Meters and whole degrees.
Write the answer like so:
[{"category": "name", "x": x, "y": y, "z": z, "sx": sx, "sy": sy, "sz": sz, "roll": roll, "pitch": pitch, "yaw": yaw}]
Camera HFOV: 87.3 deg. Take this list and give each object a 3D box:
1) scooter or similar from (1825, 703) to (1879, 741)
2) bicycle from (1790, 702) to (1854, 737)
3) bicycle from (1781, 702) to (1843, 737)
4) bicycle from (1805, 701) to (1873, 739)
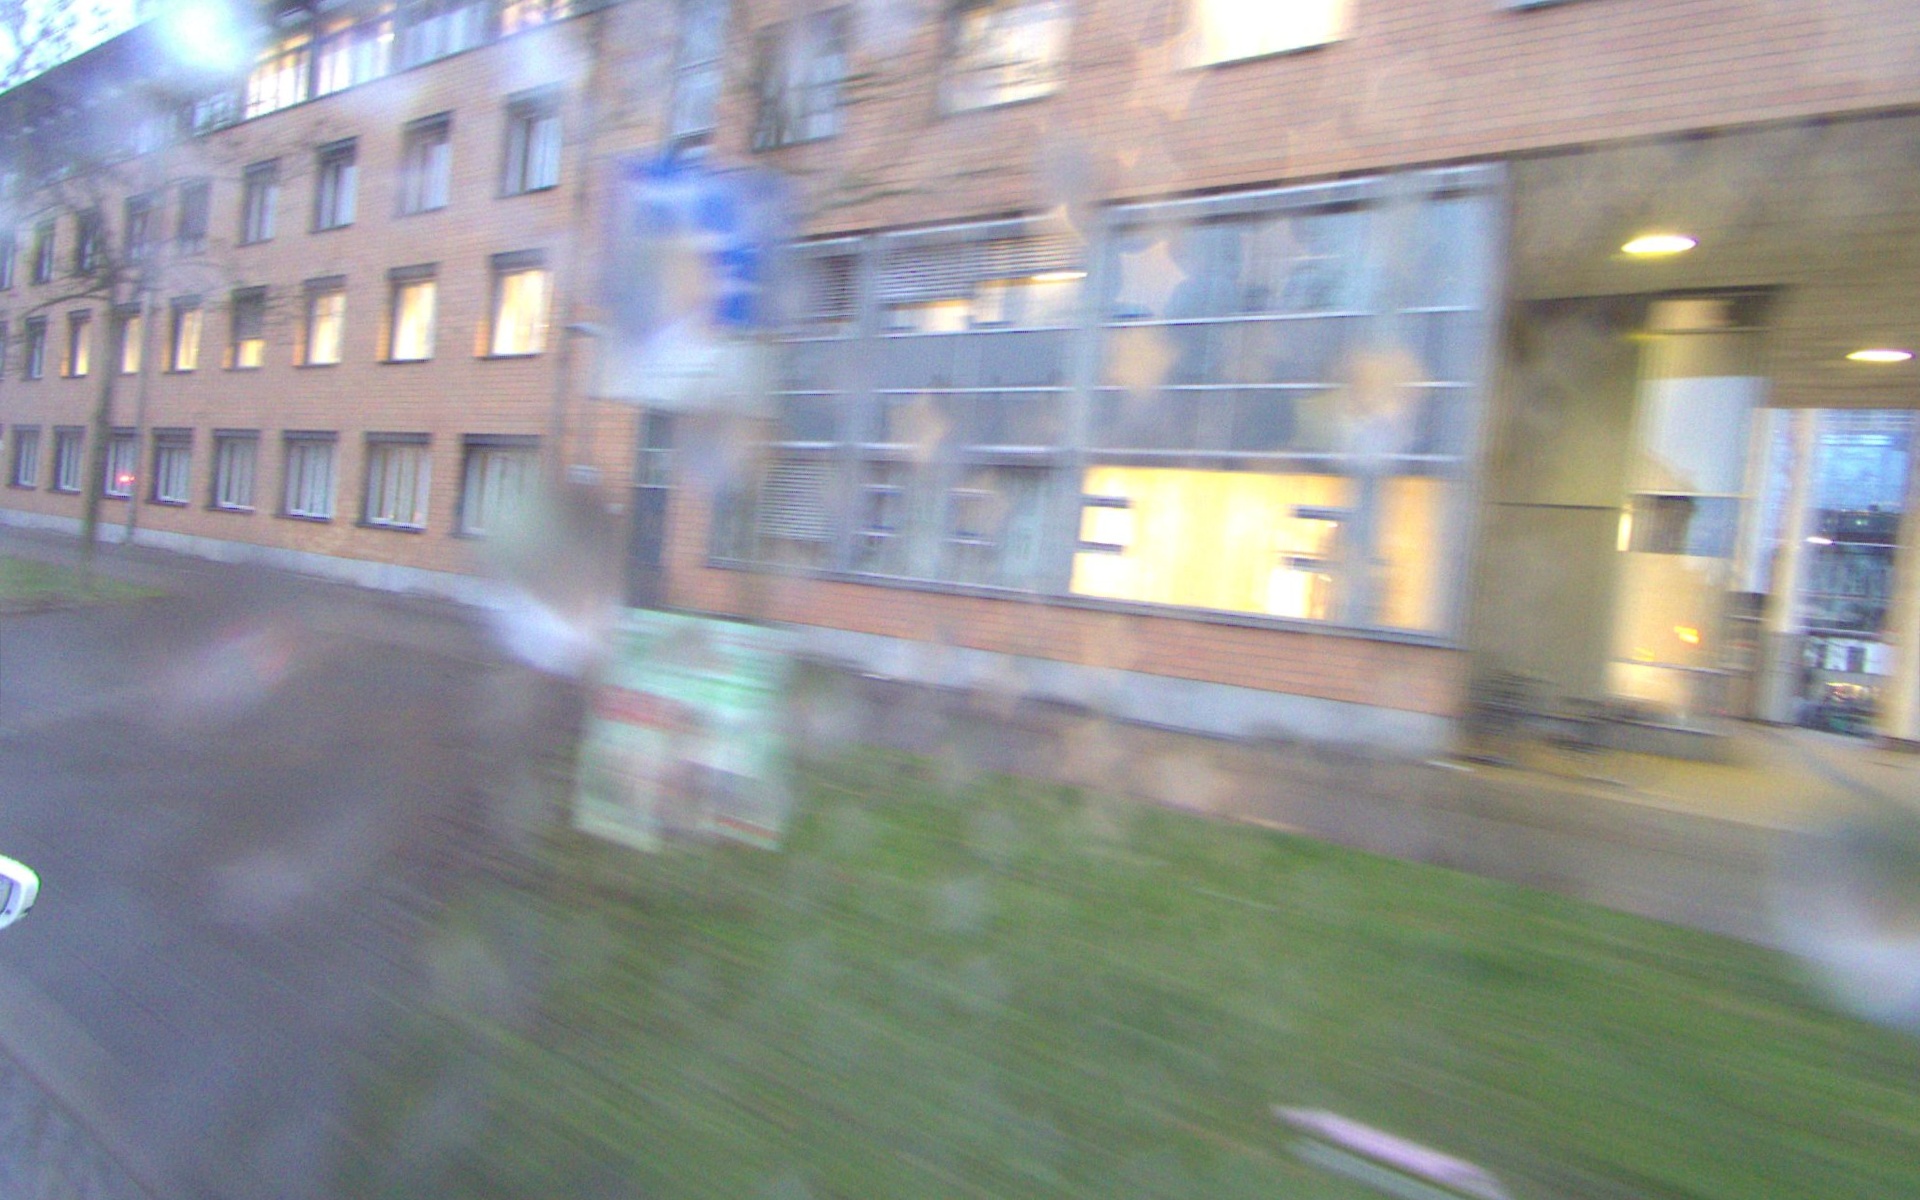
[{"category": "scooter or similar", "x": 29.244, "y": 3.993, "z": 32.992, "sx": 1.196, "sy": 1.087, "sz": 0.393, "roll": 6, "pitch": -1, "yaw": 26}, {"category": "bicycle", "x": 32.277, "y": 4.471, "z": 37.708, "sx": 1.674, "sy": 1.087, "sz": 0.492, "roll": 6, "pitch": -2, "yaw": 30}, {"category": "bicycle", "x": 32.951, "y": 4.609, "z": 38.937, "sx": 1.674, "sy": 1.087, "sz": 0.492, "roll": 6, "pitch": -2, "yaw": 30}, {"category": "bicycle", "x": 31.087, "y": 4.231, "z": 35.607, "sx": 1.674, "sy": 1.087, "sz": 0.492, "roll": 6, "pitch": -2, "yaw": 30}]
